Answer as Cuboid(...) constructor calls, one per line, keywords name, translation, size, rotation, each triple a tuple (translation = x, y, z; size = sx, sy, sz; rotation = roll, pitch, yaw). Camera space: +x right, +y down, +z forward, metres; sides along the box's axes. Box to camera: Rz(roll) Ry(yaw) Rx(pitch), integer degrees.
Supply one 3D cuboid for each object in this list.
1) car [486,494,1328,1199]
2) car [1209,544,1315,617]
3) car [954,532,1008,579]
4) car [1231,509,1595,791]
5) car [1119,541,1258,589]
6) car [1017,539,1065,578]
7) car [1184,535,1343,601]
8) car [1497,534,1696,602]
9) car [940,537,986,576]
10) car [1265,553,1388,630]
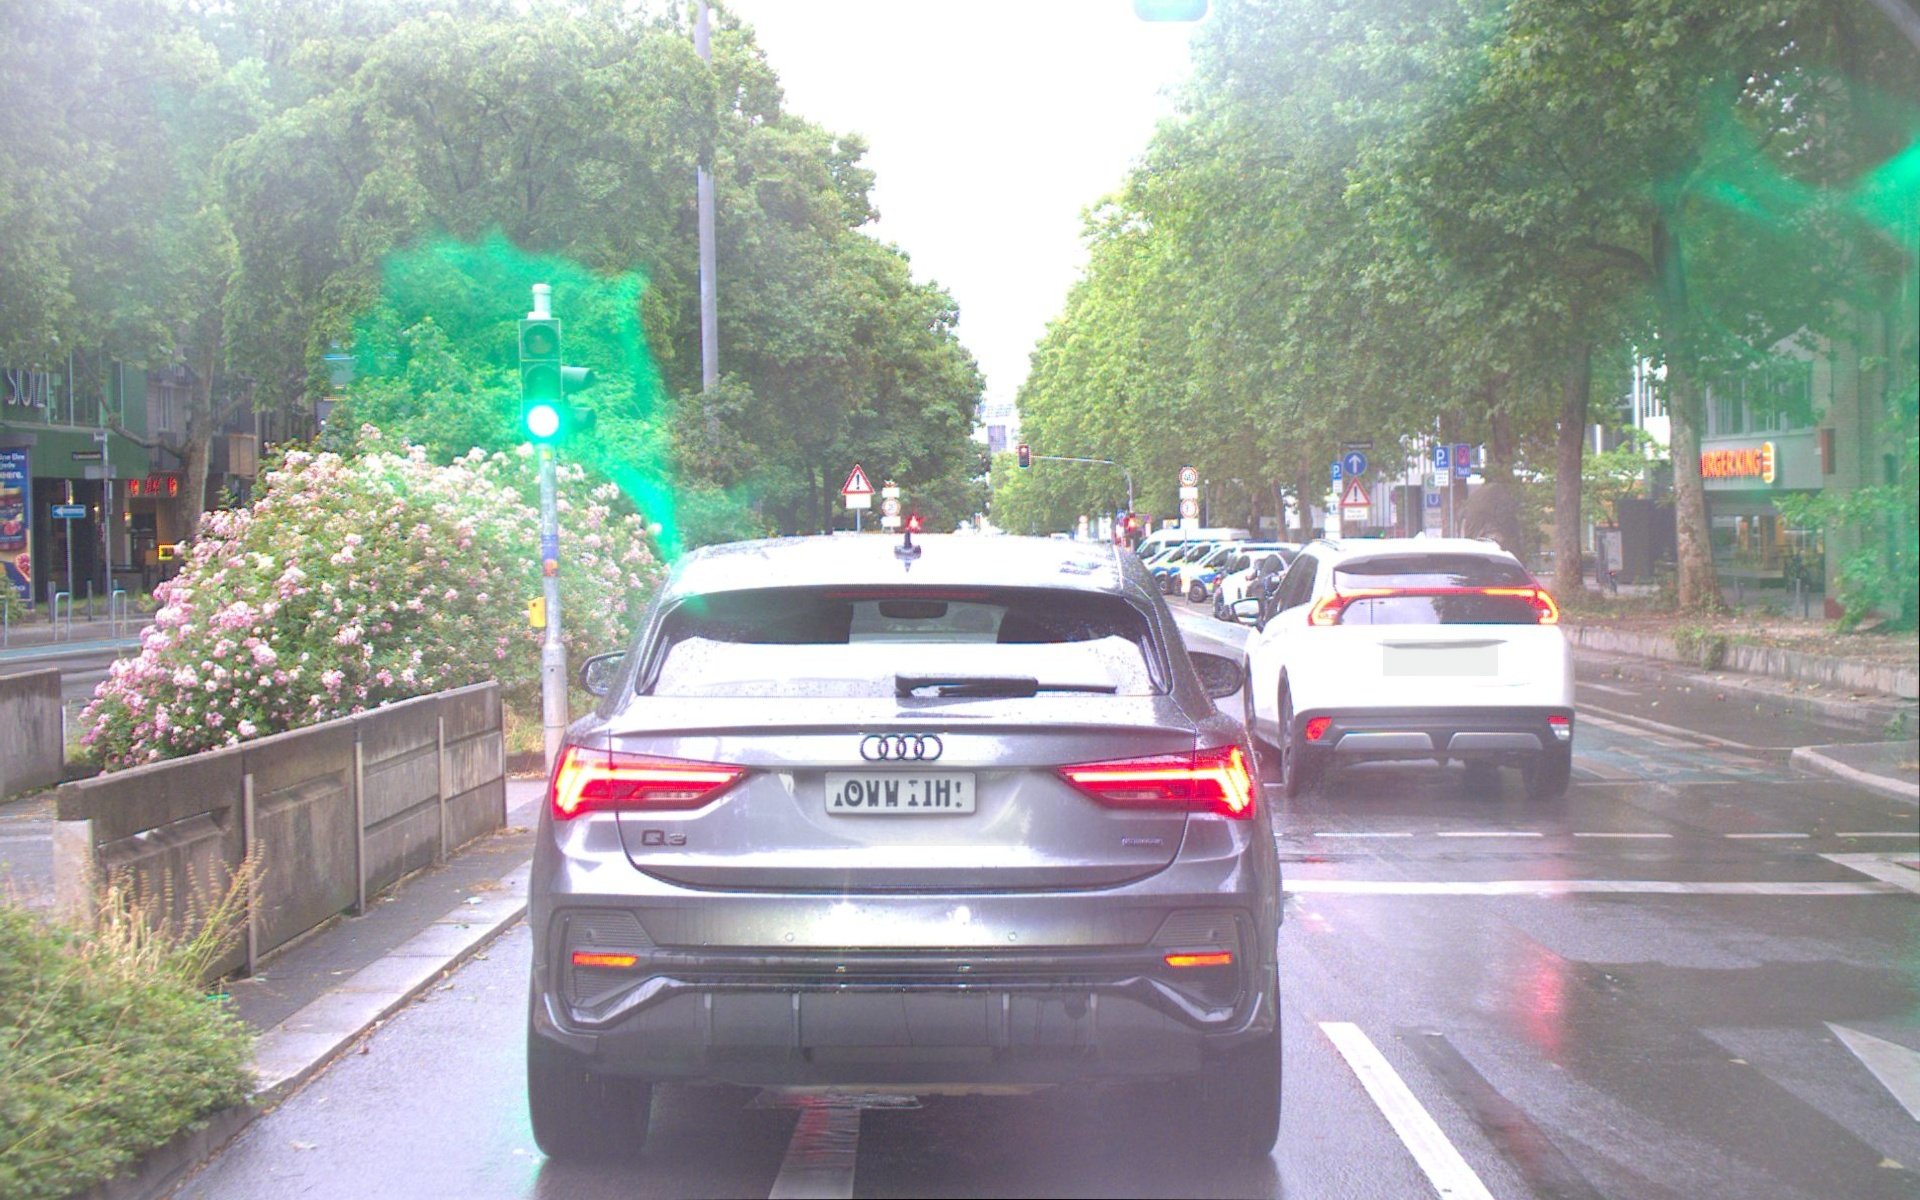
Cuboid(name="car", translation=(-0.148, 0.542, 9.560), size=(1.849, 1.596, 4.000), rotation=(0, 1, -1))
Cuboid(name="car", translation=(6.779, -0.433, 77.571), size=(1.727, 1.566, 4.074), rotation=(1, 0, -4))
Cuboid(name="car", translation=(0.782, -1.694, 131.635), size=(1.993, 1.721, 4.000), rotation=(1, 0, 0))
Cuboid(name="car", translation=(2.917, 0.298, 22.942), size=(1.878, 1.691, 4.000), rotation=(1, 0, 0))
Cuboid(name="car", translation=(8.331, -1.283, 125.416), size=(4.645, 1.700, 1.997), rotation=(1, 0, 28))
Cuboid(name="car", translation=(3.516, -1.802, 149.231), size=(1.993, 1.645, 4.000), rotation=(1, 0, 0))
Cuboid(name="car", translation=(9.481, -1.007, 107.515), size=(4.602, 2.007, 1.964), rotation=(1, 0, 39))
Cuboid(name="car", translation=(10.505, -0.524, 56.767), size=(2.889, 1.071, 1.453), rotation=(1, 0, 31))
Cuboid(name="car", translation=(0.131, -1.865, 147.599), size=(1.896, 1.593, 3.939), rotation=(1, 0, -1))
Cuboid(name="car", translation=(7.071, -0.179, 66.784), size=(1.873, 1.416, 4.611), rotation=(1, 1, 0))
